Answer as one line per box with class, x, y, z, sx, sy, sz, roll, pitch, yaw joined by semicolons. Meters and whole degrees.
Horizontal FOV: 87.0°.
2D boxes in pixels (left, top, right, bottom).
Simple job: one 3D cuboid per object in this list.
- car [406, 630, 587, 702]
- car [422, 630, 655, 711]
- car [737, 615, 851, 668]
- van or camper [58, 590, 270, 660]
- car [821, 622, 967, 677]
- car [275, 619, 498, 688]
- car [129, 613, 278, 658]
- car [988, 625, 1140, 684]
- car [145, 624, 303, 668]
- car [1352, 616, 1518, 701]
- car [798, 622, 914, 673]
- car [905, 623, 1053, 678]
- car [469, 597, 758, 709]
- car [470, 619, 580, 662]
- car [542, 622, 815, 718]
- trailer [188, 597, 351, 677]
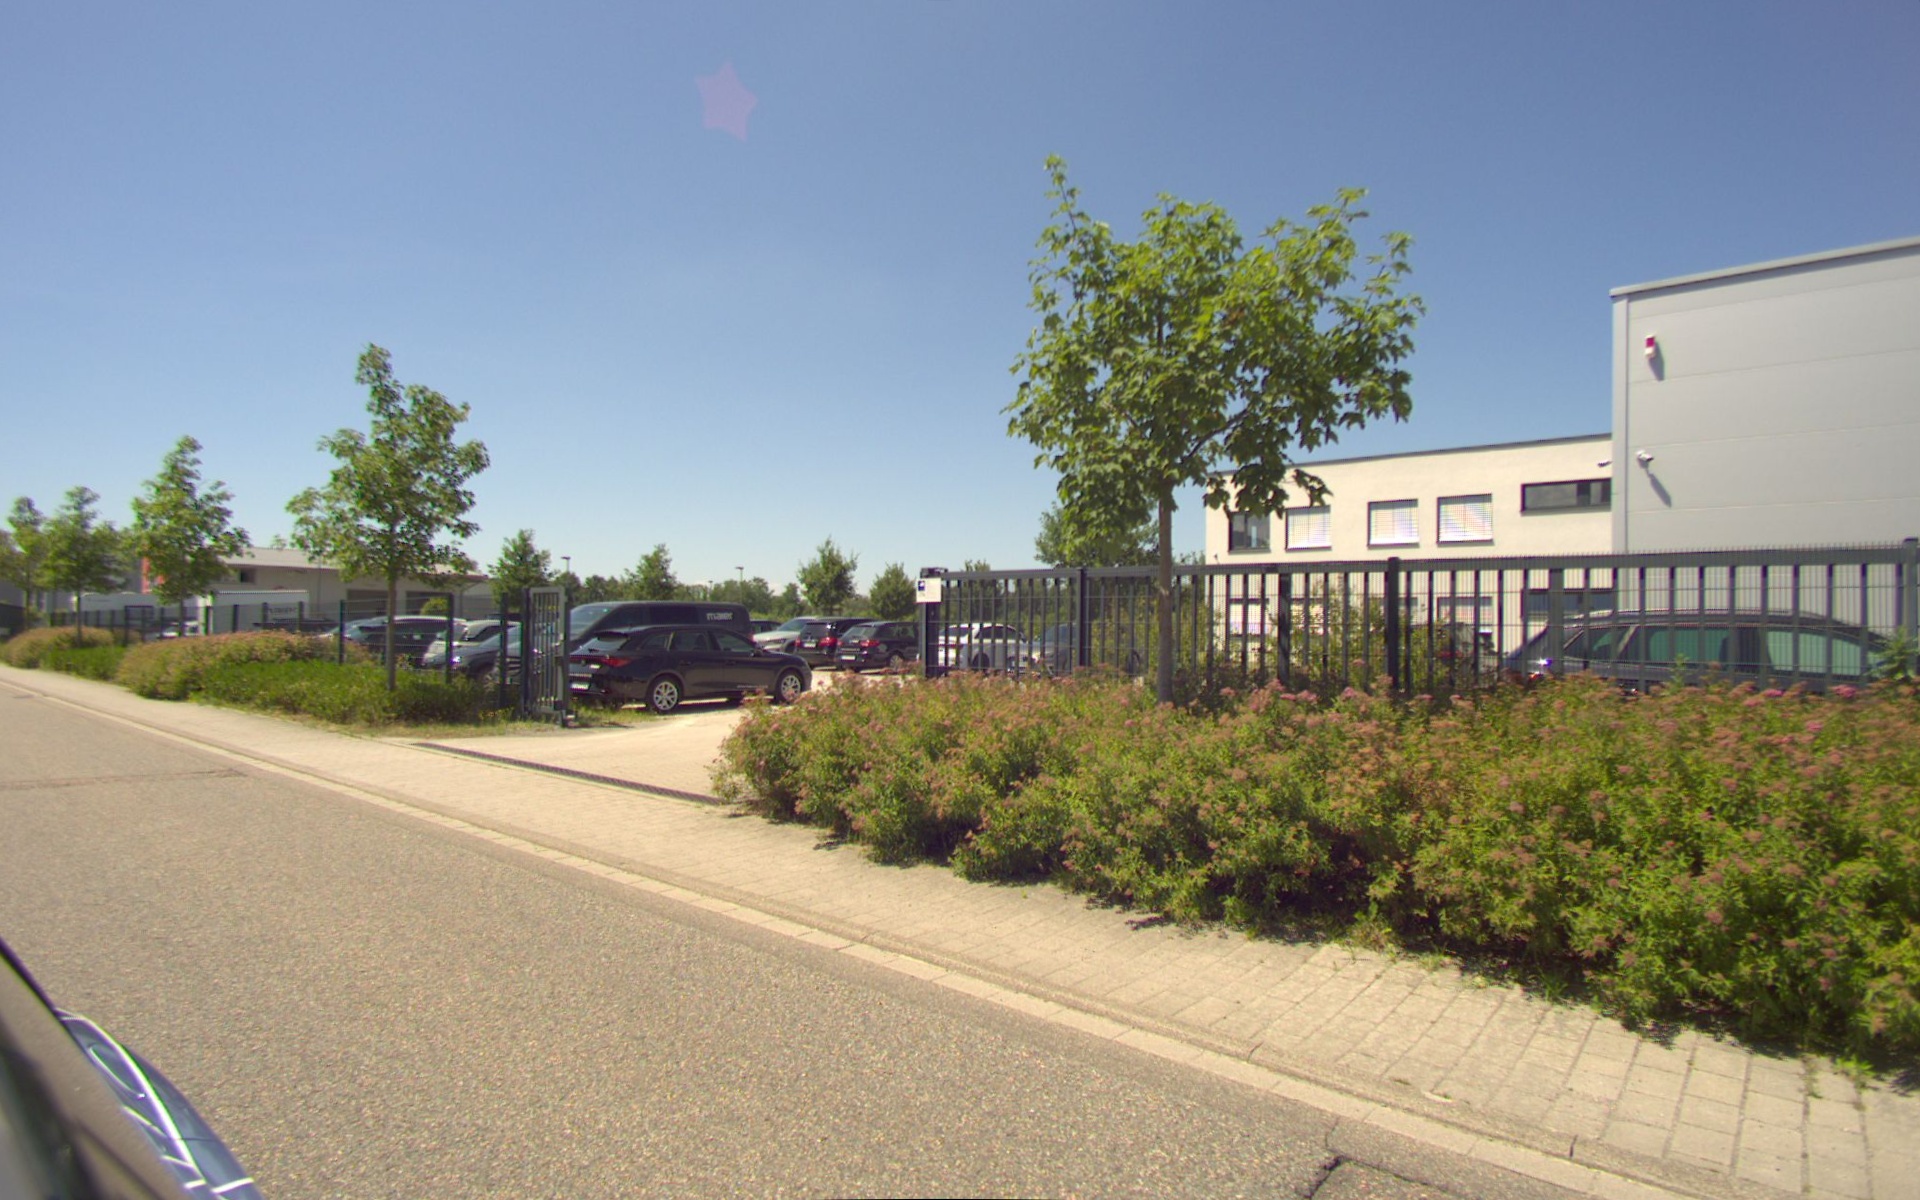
car;-10.681;1.462;23.465;1.903;1.510;3.336;-1;-2;40
car;-8.771;1.403;21.344;1.903;1.510;4.150;-1;-2;40
car;-5.239;1.300;32.236;1.476;1.596;3.436;-1;-2;40
van or camper;-33.637;1.116;43.000;2.574;2.704;6.705;-2;-3;41
car;-1.797;1.350;28.720;1.879;1.425;4.065;-1;-2;40
car;-14.921;1.345;26.546;1.999;1.641;4.683;-2;-2;41
car;-30.181;1.411;40.469;1.775;1.678;4.464;-1;-2;39
car;2.695;1.318;25.568;1.879;1.361;4.065;-1;-2;40
car;-25.909;1.589;35.749;1.774;1.463;4.166;-1;-2;37
car;9.549;1.098;20.187;1.999;1.508;4.047;-1;-2;41
car;-3.101;1.391;30.523;1.476;1.425;3.436;-1;-2;40
car;0.581;1.310;27.254;1.879;1.361;4.065;-1;-2;40
car;-6.504;0.950;19.532;1.963;1.865;5.007;-1;-2;40
car;-19.092;1.776;44.527;1.998;1.785;3.947;-1;-2;39
car;-4.791;1.128;17.710;1.963;1.457;4.261;-1;-2;40
trailer;-21.743;1.104;31.982;1.724;2.378;3.949;-1;-1;38
